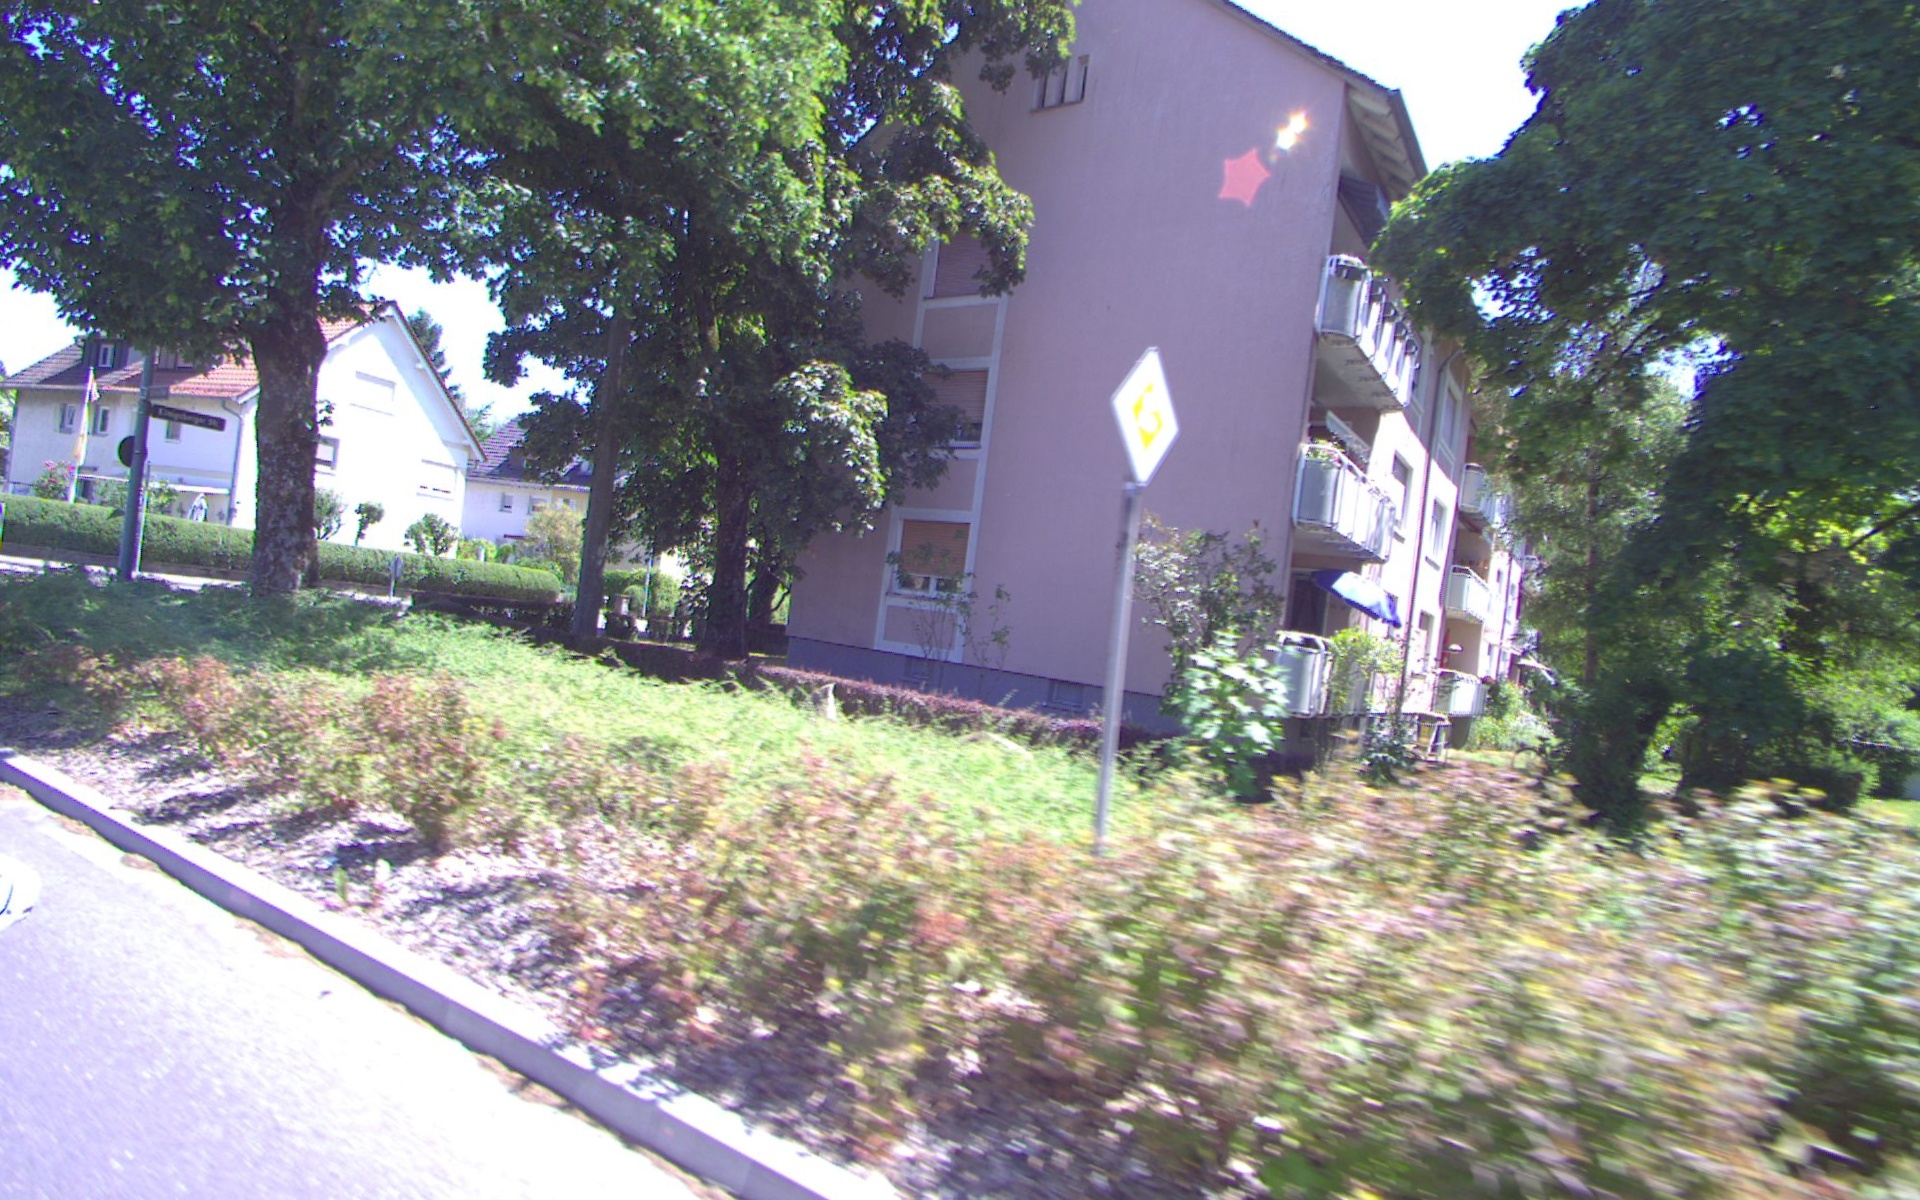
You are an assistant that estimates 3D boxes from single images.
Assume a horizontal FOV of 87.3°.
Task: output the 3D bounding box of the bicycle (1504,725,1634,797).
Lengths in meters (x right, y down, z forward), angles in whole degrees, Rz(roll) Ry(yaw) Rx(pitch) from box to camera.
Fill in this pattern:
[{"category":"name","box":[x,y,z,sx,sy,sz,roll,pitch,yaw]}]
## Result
[{"category":"bicycle","box":[12.492,3.280,20.695,2.150,1.079,0.723,7,-1,33]}]
